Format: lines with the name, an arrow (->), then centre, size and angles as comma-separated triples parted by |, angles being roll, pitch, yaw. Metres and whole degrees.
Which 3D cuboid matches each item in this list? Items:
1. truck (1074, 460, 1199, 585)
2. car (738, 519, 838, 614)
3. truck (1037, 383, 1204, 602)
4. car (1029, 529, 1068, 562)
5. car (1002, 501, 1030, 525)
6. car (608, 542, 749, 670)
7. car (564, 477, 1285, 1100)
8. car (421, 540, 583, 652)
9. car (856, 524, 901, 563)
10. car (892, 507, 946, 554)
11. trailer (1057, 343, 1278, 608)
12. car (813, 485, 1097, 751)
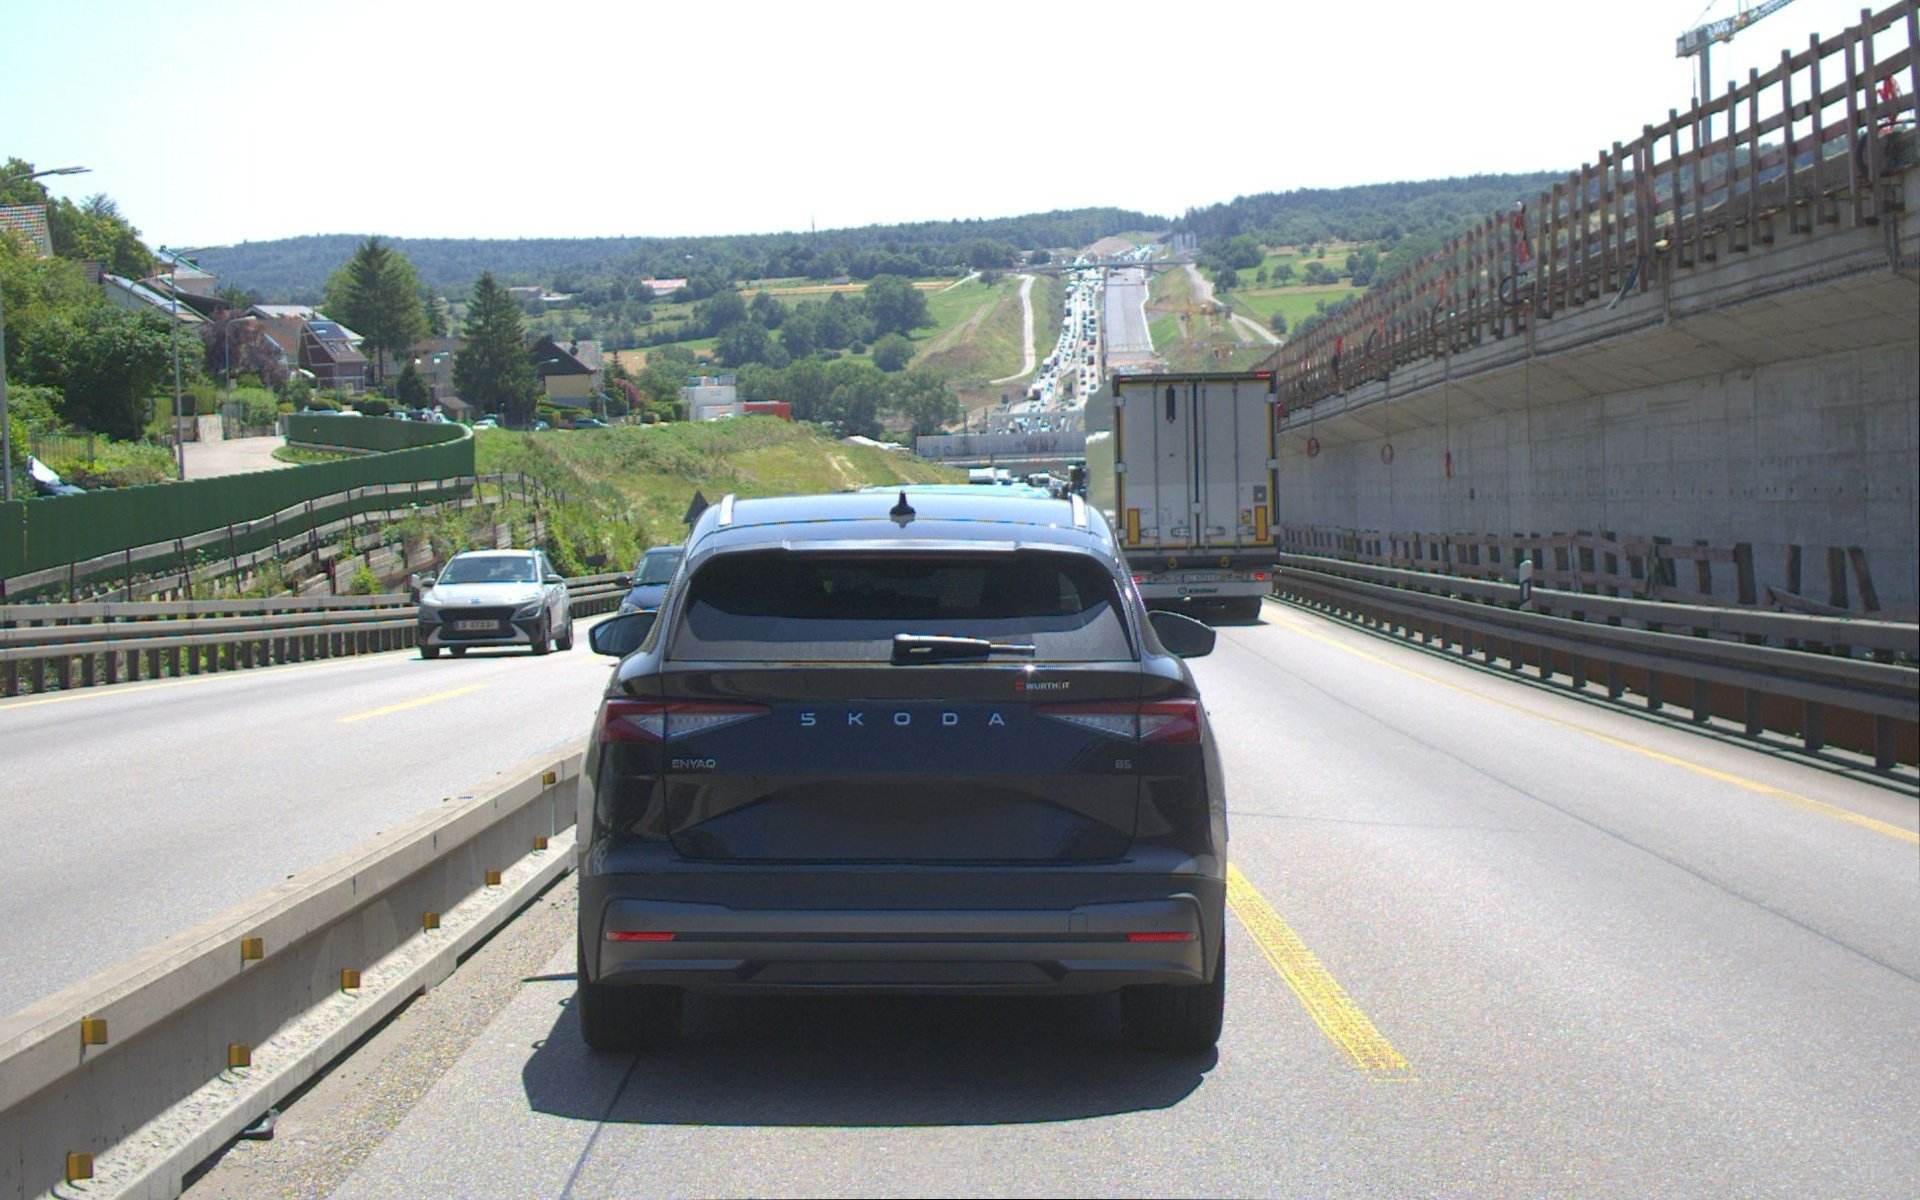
truck -> 4.767, -2.017, 95.153 | 3.195, 3.180, 12.808 | 0, 0, 2
car -> -2.866, -0.552, 57.768 | 1.547, 1.543, 3.238 | 0, 0, -1
truck -> 3.051, -1.987, 67.458 | 2.513, 4.011, 8.238 | 0, 0, -2
car -> 4.525, -2.794, 176.663 | 1.844, 1.579, 3.836 | 0, 0, -1
car -> 3.849, -5.991, 236.572 | 1.844, 1.579, 3.836 | 0, 0, -1
car -> -3.538, 0.075, 43.592 | 1.547, 1.543, 3.238 | 0, 0, -1
car -> -0.302, 0.484, 10.771 | 1.842, 1.581, 3.908 | 0, 0, -7
car -> -6.577, -0.054, 49.719 | 1.842, 1.538, 4.178 | 0, 0, -1
car -> -3.506, -2.435, 148.232 | 1.844, 1.579, 3.836 | 0, 0, -1
car -> -1.441, -2.427, 120.978 | 1.844, 1.579, 3.836 | 0, 0, -1
trailer -> 3.410, -1.942, 59.519 | 2.531, 4.113, 11.549 | 0, 0, -3
car -> -0.117, 0.075, 26.401 | 1.706, 1.875, 4.001 | 0, 1, -7
